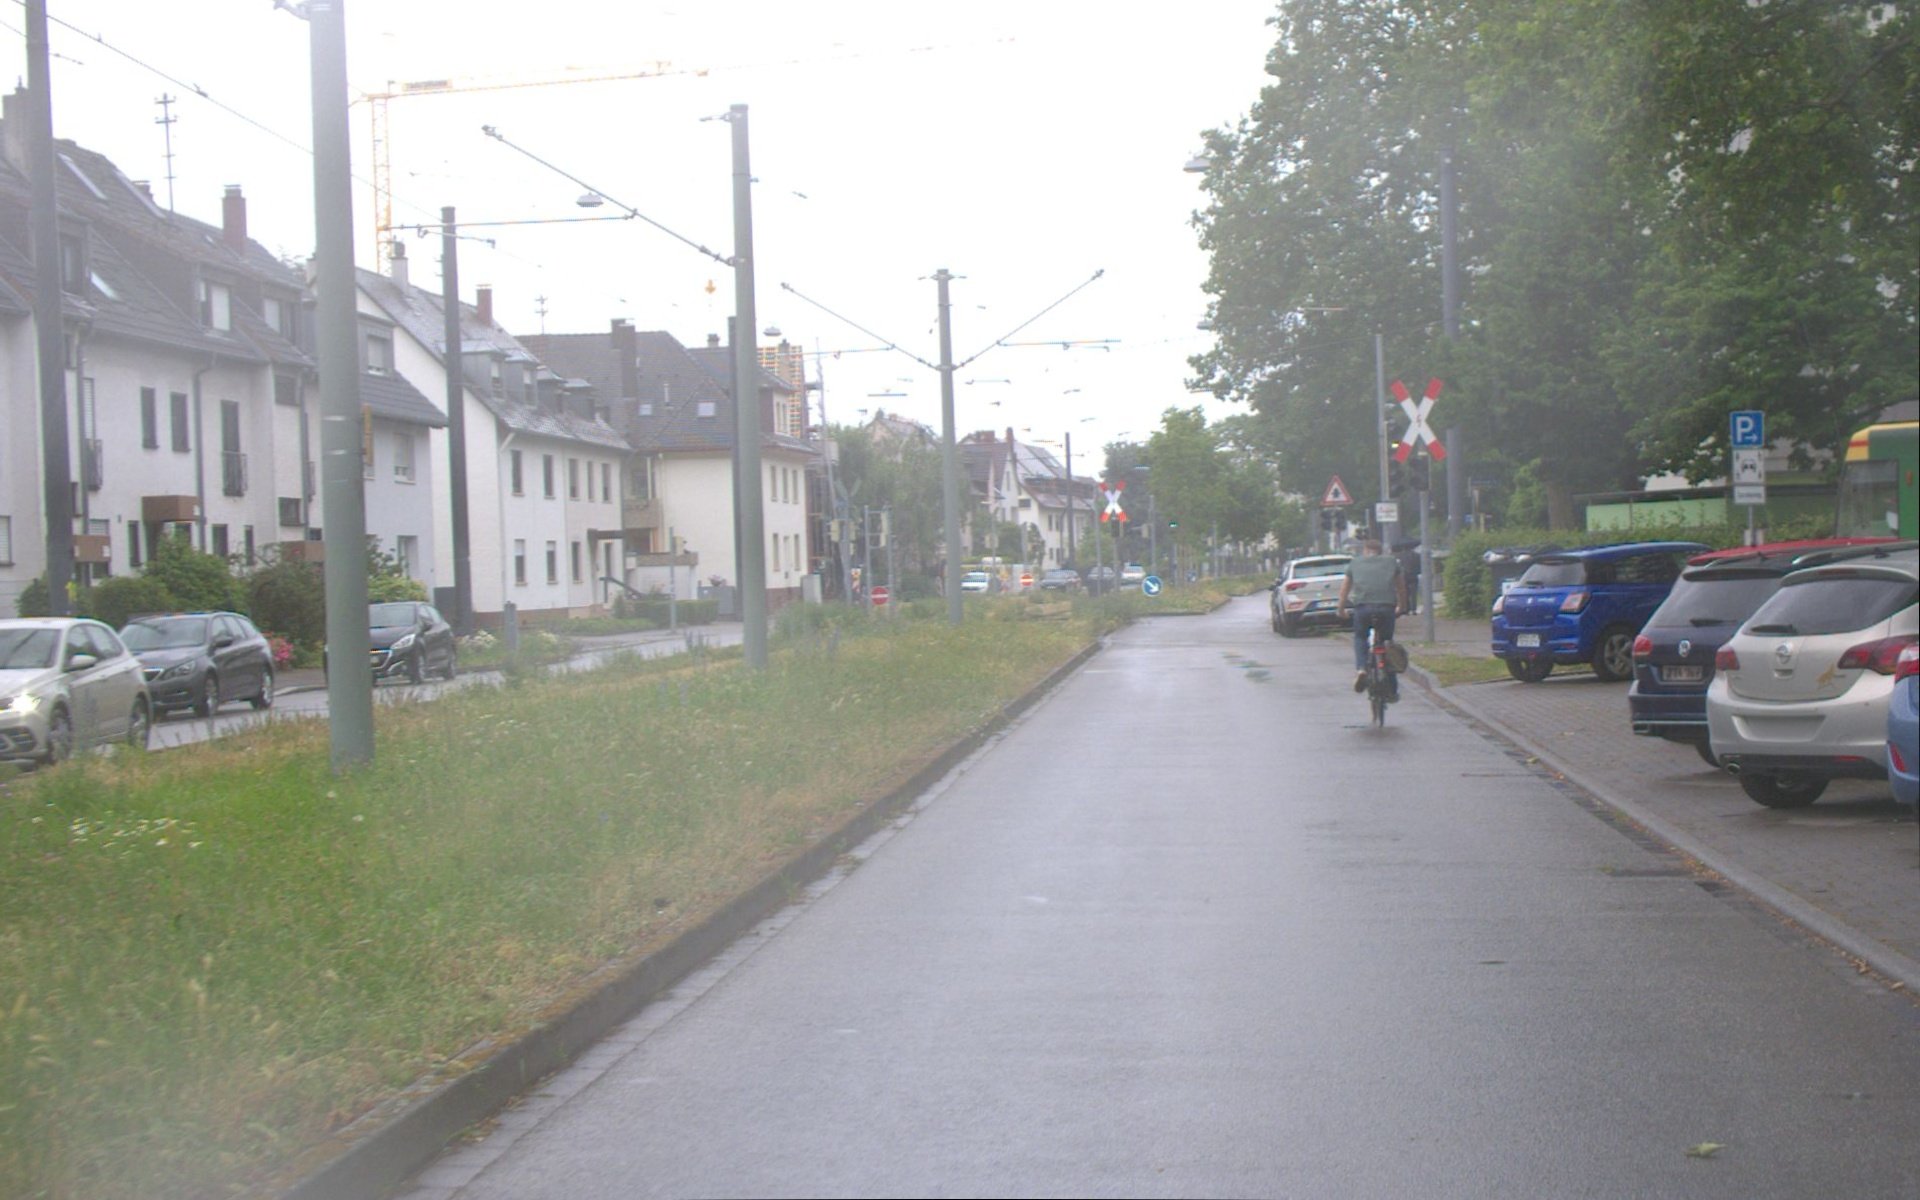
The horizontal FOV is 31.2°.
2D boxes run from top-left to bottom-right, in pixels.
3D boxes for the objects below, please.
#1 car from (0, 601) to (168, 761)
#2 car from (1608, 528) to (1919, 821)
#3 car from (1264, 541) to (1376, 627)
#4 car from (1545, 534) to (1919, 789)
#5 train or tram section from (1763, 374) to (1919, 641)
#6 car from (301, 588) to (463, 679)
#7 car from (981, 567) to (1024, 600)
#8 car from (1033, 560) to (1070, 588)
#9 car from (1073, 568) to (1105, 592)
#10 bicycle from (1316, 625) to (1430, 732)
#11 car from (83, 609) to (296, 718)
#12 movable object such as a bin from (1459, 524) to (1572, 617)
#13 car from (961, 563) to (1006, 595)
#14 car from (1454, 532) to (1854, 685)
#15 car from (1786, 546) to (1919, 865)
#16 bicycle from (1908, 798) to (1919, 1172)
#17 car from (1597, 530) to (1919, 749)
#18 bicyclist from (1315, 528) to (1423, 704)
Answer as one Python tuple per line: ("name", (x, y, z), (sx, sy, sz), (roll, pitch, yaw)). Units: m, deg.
("car", (-8.943, 0.790, 32.705), (1.601, 1.419, 3.819), (-2, -1, 5))
("car", (5.971, 0.344, 20.248), (3.988, 1.548, 1.960), (-4, 0, -37))
("car", (7.197, -0.306, 69.125), (1.955, 1.548, 3.999), (-4, 0, 3))
("car", (6.265, 0.333, 23.458), (4.109, 1.475, 1.866), (-4, 1, -27))
("train or tram section", (17.028, -1.353, 43.440), (2.707, 3.577, 14.732), (-1, 0, -39))
("car", (-10.243, 0.626, 61.169), (1.877, 1.498, 4.132), (-2, -1, 4))
("car", (2.372, -0.910, 191.554), (1.994, 1.699, 3.999), (-2, -1, 6))
("car", (5.767, -1.631, 216.713), (1.994, 1.539, 3.999), (-2, -1, 6))
("car", (9.104, -1.407, 242.377), (1.994, 1.539, 3.999), (-2, -1, 6))
("bicycle", (3.784, 0.704, 31.633), (0.821, 0.909, 1.985), (-3, 0, 2))
("car", (-10.870, 0.903, 48.789), (1.601, 1.419, 4.665), (-2, -1, 5))
("movable object such as a bin", (10.730, -0.557, 66.424), (1.549, 1.698, 1.501), (-3, 0, -19))
("car", (1.291, -1.102, 185.423), (1.994, 1.539, 3.999), (-2, -1, 6))
("car", (7.810, 0.061, 38.676), (3.987, 1.478, 2.000), (-3, 2, -27))
("car", (6.292, 0.346, 17.401), (3.988, 1.495, 1.824), (-6, 1, -35))
("bicycle", (2.233, 0.948, 5.897), (0.753, 1.069, 1.927), (-2, 2, 3))
("car", (6.971, 0.245, 26.699), (3.587, 1.475, 1.638), (-4, 1, -22))
("bicyclist", (3.753, 0.147, 31.644), (0.831, 1.553, 0.914), (-3, 0, 2))
